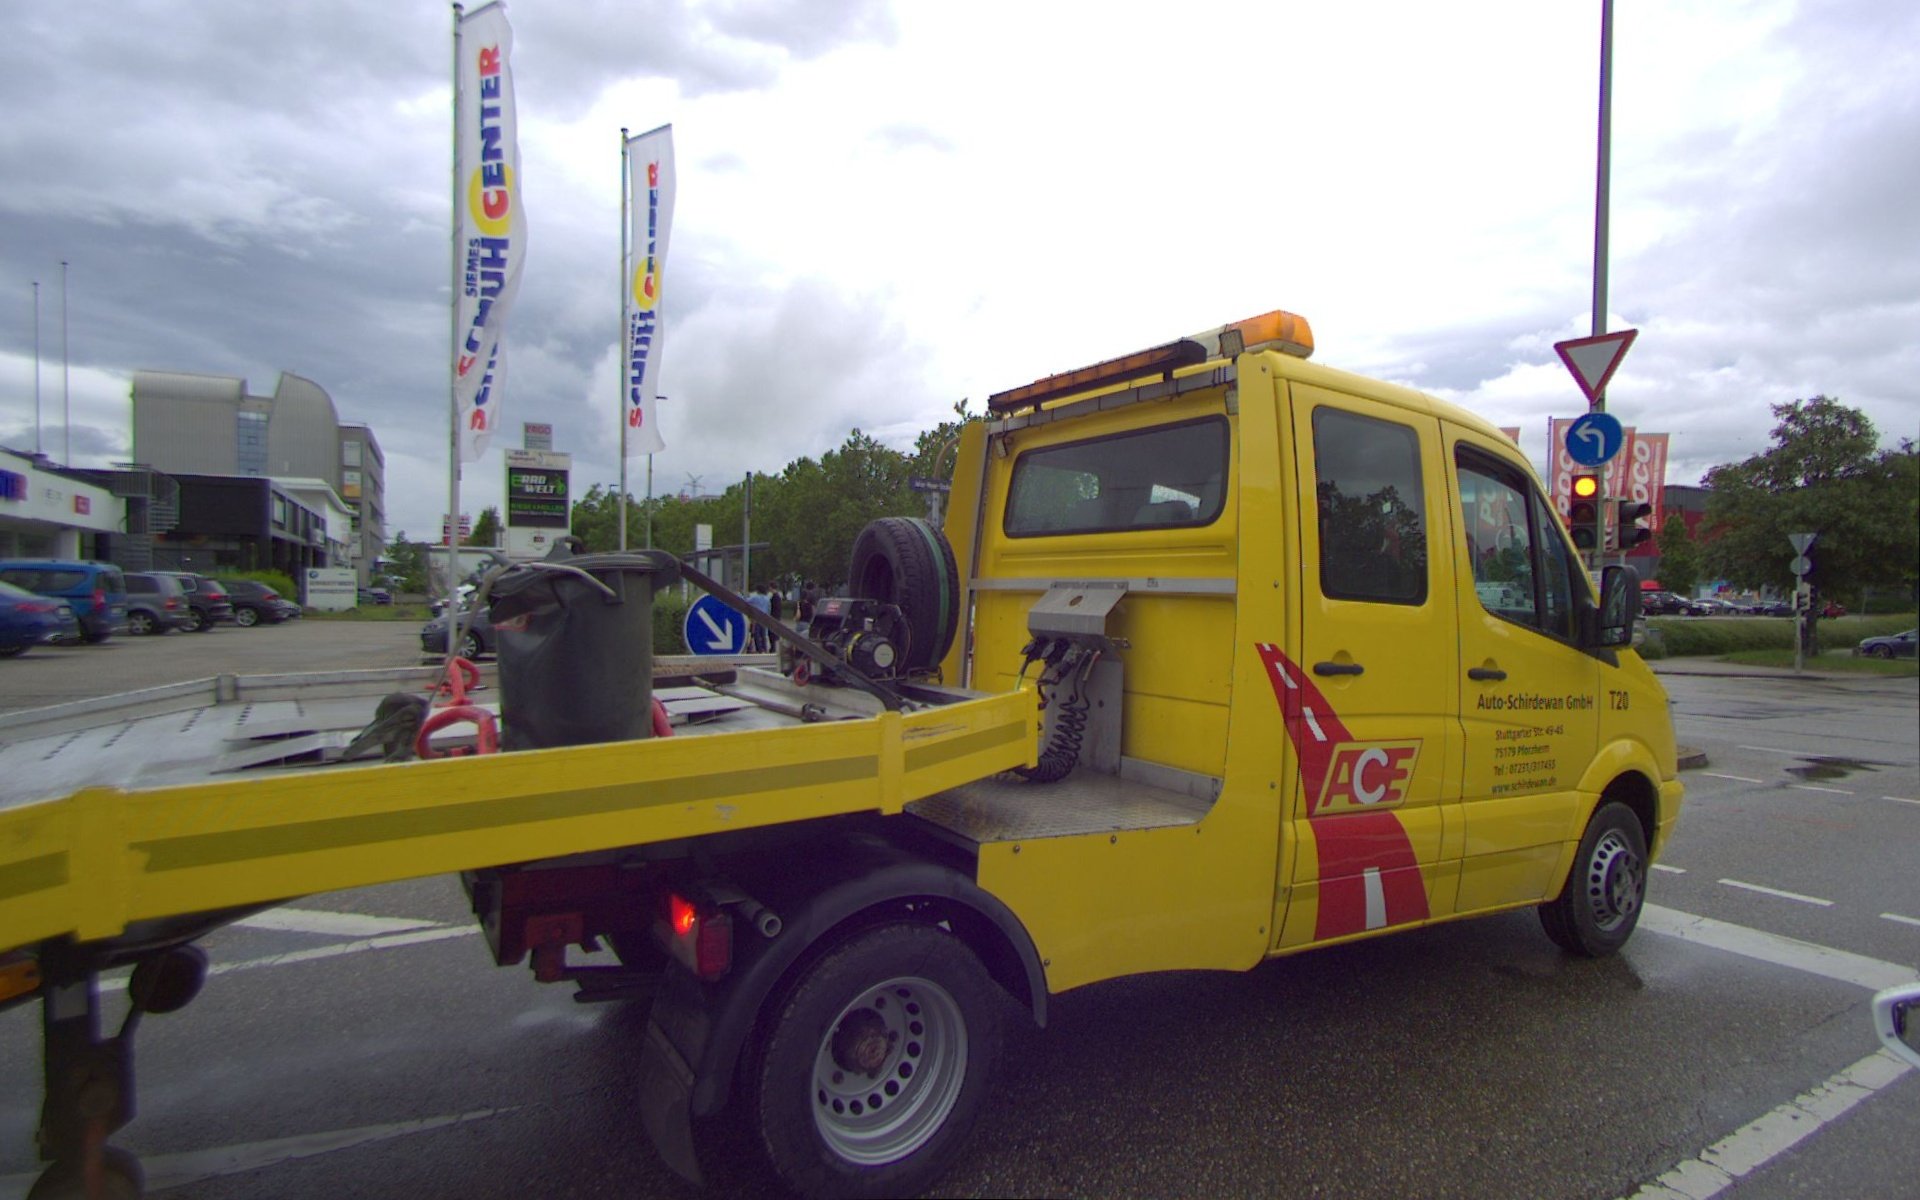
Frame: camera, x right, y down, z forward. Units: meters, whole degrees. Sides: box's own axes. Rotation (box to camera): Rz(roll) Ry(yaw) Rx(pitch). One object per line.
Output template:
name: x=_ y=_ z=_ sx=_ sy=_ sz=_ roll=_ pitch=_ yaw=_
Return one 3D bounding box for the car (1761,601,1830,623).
car: x=65.471 y=0.897 z=78.739 sx=1.652 sy=1.667 sz=3.799 roll=2 pitch=-1 yaw=-28

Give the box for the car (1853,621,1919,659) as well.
car: x=41.226 y=1.751 z=43.450 sx=1.669 sy=1.573 sz=3.624 roll=2 pitch=-1 yaw=-36

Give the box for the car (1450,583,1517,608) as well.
car: x=35.679 y=-0.300 z=68.527 sx=1.612 sy=1.667 sz=3.799 roll=2 pitch=-1 yaw=-28

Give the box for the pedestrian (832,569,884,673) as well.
pedestrian: x=-2.058 y=0.427 z=20.345 sx=0.683 sy=2.040 sz=0.816 roll=2 pitch=-1 yaw=20

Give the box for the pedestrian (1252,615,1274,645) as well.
pedestrian: x=14.909 y=1.466 z=49.420 sx=0.773 sy=1.450 sz=0.635 roll=2 pitch=-1 yaw=-33

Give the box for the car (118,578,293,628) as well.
car: x=-24.977 y=0.126 z=33.460 sx=4.319 sy=1.518 sz=1.884 roll=2 pitch=-1 yaw=-27

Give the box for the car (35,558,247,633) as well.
car: x=-23.202 y=-0.089 z=28.680 sx=4.319 sy=1.931 sz=1.884 roll=2 pitch=-1 yaw=-27

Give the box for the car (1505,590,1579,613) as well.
car: x=37.623 y=0.081 z=65.031 sx=1.652 sy=1.399 sz=3.881 roll=2 pitch=-1 yaw=-28

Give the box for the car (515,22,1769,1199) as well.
car: x=1.013 y=0.226 z=4.214 sx=4.960 sy=2.506 sz=2.227 roll=2 pitch=-1 yaw=-32

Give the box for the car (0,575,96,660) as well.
car: x=-17.696 y=0.255 z=16.971 sx=4.319 sy=1.412 sz=1.811 roll=2 pitch=-1 yaw=-27

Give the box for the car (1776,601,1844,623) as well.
car: x=67.815 y=0.975 z=80.188 sx=1.652 sy=1.667 sz=3.799 roll=2 pitch=-1 yaw=-28

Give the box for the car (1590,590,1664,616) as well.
car: x=44.498 y=0.204 z=67.114 sx=1.652 sy=1.667 sz=3.799 roll=2 pitch=-1 yaw=-28

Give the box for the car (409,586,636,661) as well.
car: x=-8.895 y=0.499 z=20.660 sx=4.069 sy=1.412 sz=1.813 roll=2 pitch=-1 yaw=-24

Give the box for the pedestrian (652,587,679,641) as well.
pedestrian: x=-9.649 y=0.476 z=32.881 sx=0.692 sy=1.733 sz=0.693 roll=2 pitch=-1 yaw=-26

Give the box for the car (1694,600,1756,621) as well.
car: x=63.315 y=0.848 z=83.176 sx=1.652 sy=1.667 sz=3.799 roll=2 pitch=-1 yaw=-28

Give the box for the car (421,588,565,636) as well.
car: x=-15.033 y=0.406 z=32.410 sx=4.074 sy=1.412 sz=1.811 roll=2 pitch=-1 yaw=-27

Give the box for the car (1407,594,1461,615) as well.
car: x=40.342 y=0.379 z=85.509 sx=1.652 sy=1.667 sz=3.934 roll=2 pitch=-1 yaw=-28

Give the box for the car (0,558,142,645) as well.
car: x=-20.514 y=0.014 z=21.473 sx=4.319 sy=1.787 sz=1.884 roll=2 pitch=-1 yaw=-27

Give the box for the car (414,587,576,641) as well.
car: x=-13.319 y=0.416 z=28.892 sx=4.074 sy=1.412 sz=1.886 roll=2 pitch=-1 yaw=-27

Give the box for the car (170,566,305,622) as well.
car: x=-28.335 y=-0.206 z=39.557 sx=3.944 sy=2.040 sz=1.900 roll=2 pitch=-1 yaw=-24

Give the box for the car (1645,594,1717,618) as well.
car: x=51.000 y=0.421 z=71.100 sx=1.652 sy=1.667 sz=3.799 roll=2 pitch=-1 yaw=-28

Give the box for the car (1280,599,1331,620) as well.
car: x=28.319 y=0.772 z=82.475 sx=1.652 sy=1.667 sz=3.934 roll=2 pitch=-1 yaw=-28

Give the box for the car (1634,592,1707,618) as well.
car: x=48.944 y=0.349 z=69.272 sx=1.652 sy=1.667 sz=3.799 roll=2 pitch=-1 yaw=-28

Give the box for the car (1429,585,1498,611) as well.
car: x=33.348 y=-0.137 z=66.628 sx=1.652 sy=1.667 sz=3.799 roll=2 pitch=-1 yaw=-28

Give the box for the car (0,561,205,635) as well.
car: x=-22.515 y=-0.028 z=26.101 sx=4.319 sy=1.787 sz=1.884 roll=2 pitch=-1 yaw=-27

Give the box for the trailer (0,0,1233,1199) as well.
trailer: x=-3.216 y=0.095 z=1.546 sx=7.884 sy=2.506 sz=2.291 roll=2 pitch=-1 yaw=-32
